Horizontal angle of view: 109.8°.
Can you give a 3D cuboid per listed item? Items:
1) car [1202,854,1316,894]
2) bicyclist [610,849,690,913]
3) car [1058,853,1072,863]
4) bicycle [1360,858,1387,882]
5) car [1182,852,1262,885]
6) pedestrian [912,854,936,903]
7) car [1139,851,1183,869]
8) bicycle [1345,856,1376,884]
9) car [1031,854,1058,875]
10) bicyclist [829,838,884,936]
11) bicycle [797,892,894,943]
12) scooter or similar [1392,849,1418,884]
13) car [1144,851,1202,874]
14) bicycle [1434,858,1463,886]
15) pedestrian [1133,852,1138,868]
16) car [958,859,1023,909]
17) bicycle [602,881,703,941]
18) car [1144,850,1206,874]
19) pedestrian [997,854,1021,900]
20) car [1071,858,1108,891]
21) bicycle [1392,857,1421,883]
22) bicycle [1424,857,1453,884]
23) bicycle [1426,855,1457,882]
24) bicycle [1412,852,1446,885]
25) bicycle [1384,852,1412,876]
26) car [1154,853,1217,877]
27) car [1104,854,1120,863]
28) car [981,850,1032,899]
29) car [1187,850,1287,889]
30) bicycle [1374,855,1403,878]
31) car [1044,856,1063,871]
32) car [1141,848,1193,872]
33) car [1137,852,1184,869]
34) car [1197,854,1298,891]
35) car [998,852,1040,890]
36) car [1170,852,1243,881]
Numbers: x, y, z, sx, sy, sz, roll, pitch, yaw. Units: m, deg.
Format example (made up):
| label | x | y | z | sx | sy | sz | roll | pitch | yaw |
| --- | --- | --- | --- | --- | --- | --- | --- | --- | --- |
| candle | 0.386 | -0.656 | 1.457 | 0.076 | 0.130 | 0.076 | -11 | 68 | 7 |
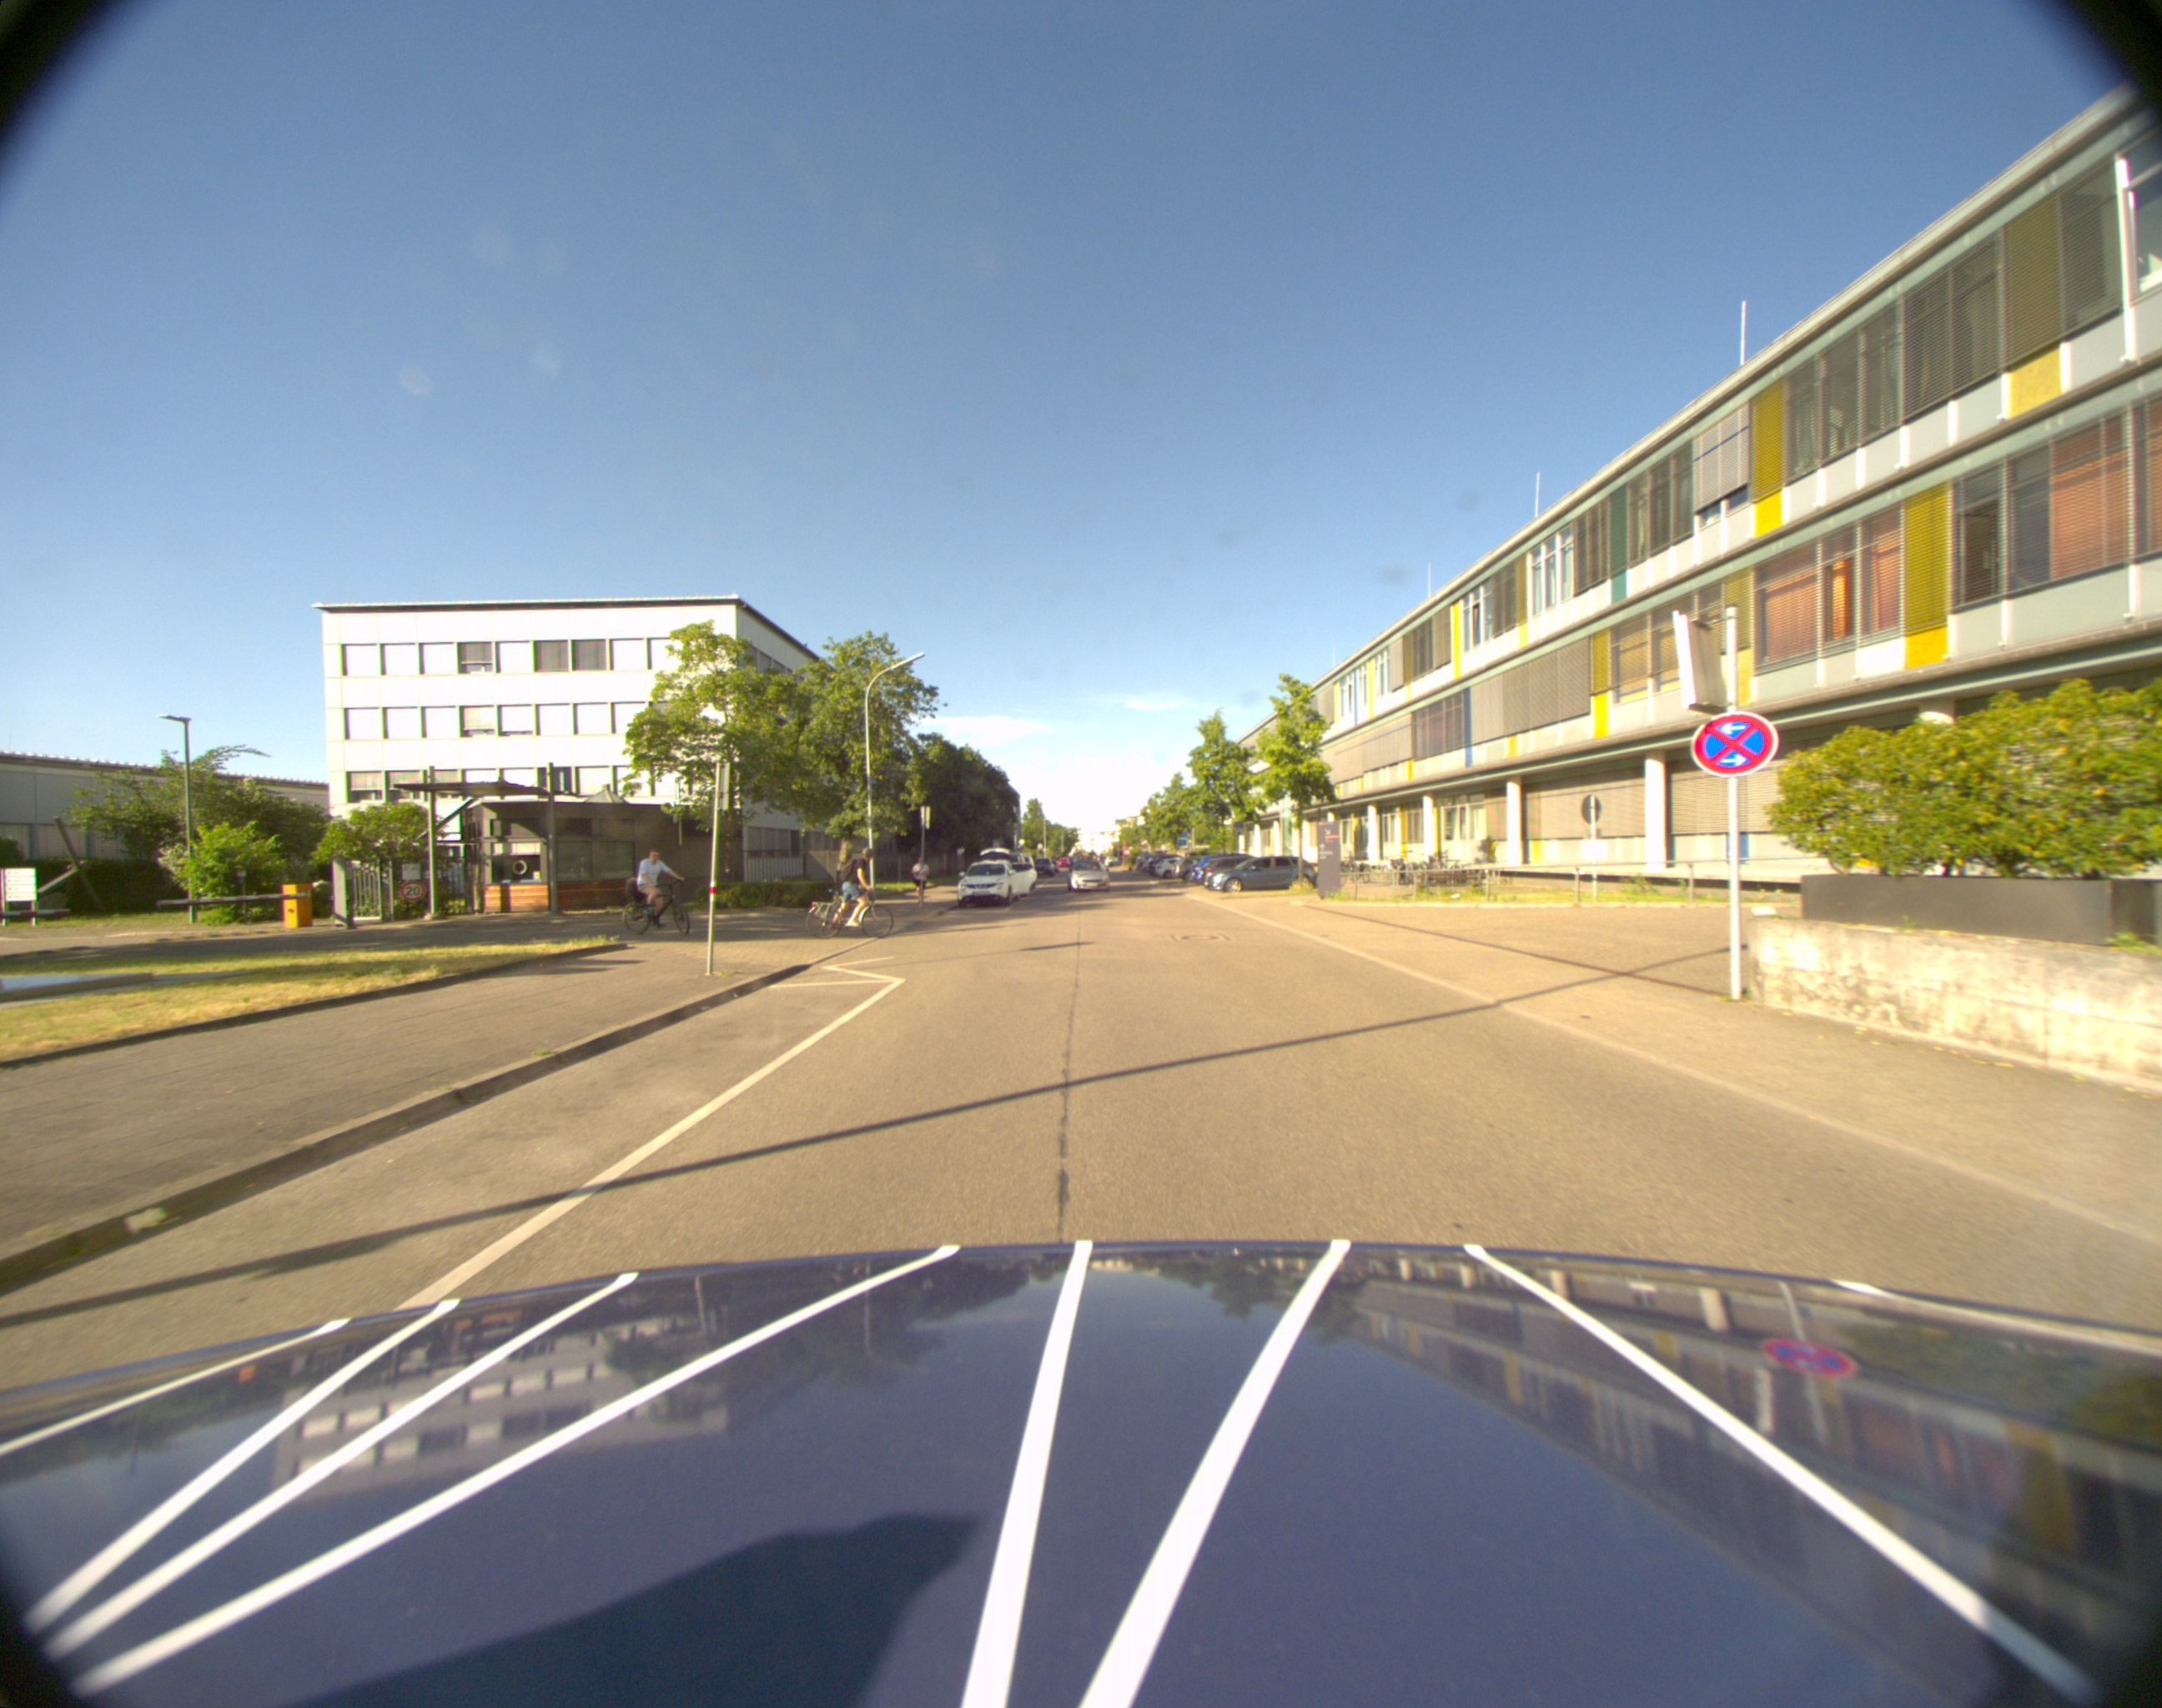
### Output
| label | x | y | z | sx | sy | sz | roll | pitch | yaw |
| --- | --- | --- | --- | --- | --- | --- | --- | --- | --- |
| car | 7.110 | 0.781 | 30.615 | 4.142 | 1.458 | 1.753 | -2 | 0 | -1 |
| bicyclist | -8.815 | 0.548 | 15.568 | 1.098 | 1.261 | 0.863 | -1 | 0 | 16 |
| car | -2.397 | 0.616 | 112.496 | 1.999 | 1.382 | 3.998 | 0 | 0 | -4 |
| bicycle | 12.377 | 0.666 | 32.230 | 0.428 | 1.009 | 1.779 | -1 | 0 | -1 |
| car | 7.508 | 0.743 | 40.614 | 3.752 | 1.480 | 1.777 | -3 | 1 | -8 |
| pedestrian | -5.628 | 0.874 | 27.252 | 0.693 | 1.718 | 0.775 | 0 | 1 | 0 |
| car | 8.076 | 0.604 | 76.866 | 4.357 | 1.637 | 2.001 | -3 | 1 | 5 |
| bicycle | 11.828 | 0.678 | 32.218 | 0.637 | 1.136 | 1.779 | -1 | 0 | -1 |
| car | -3.053 | 0.898 | 64.348 | 1.890 | 1.616 | 4.294 | -3 | 0 | 0 |
| bicyclist | -4.761 | 0.678 | 16.122 | 1.054 | 2.001 | 0.958 | 1 | 0 | -17 |
| bicycle | -4.925 | 1.333 | 16.013 | 1.886 | 1.003 | 0.700 | 2 | 1 | -14 |
| scooter or similar | 12.014 | 0.467 | 28.164 | 0.471 | 1.266 | 1.205 | -1 | 0 | 2 |
| car | 7.429 | 0.658 | 61.653 | 4.360 | 1.581 | 1.999 | -3 | 0 | -4 |
| bicycle | 14.297 | 0.687 | 29.594 | 0.353 | 1.017 | 1.396 | -1 | 0 | -5 |
| pedestrian | 6.032 | 0.696 | 83.986 | 0.369 | 1.712 | 0.479 | -3 | 5 | -3 |
| car | -3.116 | 0.996 | 26.941 | 1.668 | 1.505 | 4.114 | -3 | 0 | 1 |
| bicycle | -8.792 | 1.150 | 15.591 | 1.899 | 1.136 | 0.668 | 0 | 0 | 16 |
| car | 7.228 | 0.607 | 58.690 | 4.360 | 1.618 | 1.999 | -3 | 1 | -4 |
| pedestrian | -2.787 | 0.897 | 29.458 | 0.589 | 1.735 | 0.706 | -3 | 1 | 19 |
| car | 0.432 | 0.914 | 34.514 | 1.551 | 1.389 | 3.454 | 0 | 0 | 3 |
| bicycle | 13.451 | 0.649 | 31.430 | 0.448 | 1.009 | 1.779 | -1 | 0 | -1 |
| bicycle | 13.884 | 0.632 | 29.557 | 0.353 | 1.017 | 1.396 | -1 | 0 | -5 |
| bicycle | 15.398 | 0.597 | 32.505 | 0.448 | 1.129 | 1.855 | -1 | 0 | -1 |
| bicycle | 13.031 | 0.546 | 28.494 | 0.353 | 1.040 | 1.653 | -1 | -8 | -5 |
| bicycle | 15.986 | 0.481 | 38.338 | 0.648 | 1.192 | 1.855 | -1 | 0 | -1 |
| car | 7.220 | 0.728 | 52.763 | 4.102 | 1.414 | 1.823 | -3 | 1 | -1 |
| car | 4.886 | 0.685 | 119.504 | 2.000 | 1.499 | 3.997 | 0 | 0 | -6 |
| car | -3.128 | 0.810 | 32.810 | 1.869 | 1.859 | 5.020 | -3 | 0 | -3 |
| car | 7.284 | 0.707 | 35.699 | 4.232 | 1.642 | 1.960 | -2 | 0 | -2 |
| bicycle | 14.718 | 0.578 | 36.392 | 0.648 | 1.089 | 1.855 | -1 | 0 | -1 |
| car | -2.881 | 0.962 | 80.785 | 1.824 | 1.435 | 4.294 | -3 | 0 | 0 |
| car | 7.705 | 0.537 | 68.455 | 4.359 | 1.852 | 2.000 | -3 | 0 | 1 |
| car | 7.715 | 0.641 | 73.938 | 4.357 | 1.452 | 2.001 | -3 | 1 | 5 |
| car | 7.197 | 0.762 | 33.080 | 3.998 | 1.429 | 1.730 | -2 | 0 | -2 |
| car | -3.131 | 0.846 | 39.313 | 1.706 | 1.784 | 4.294 | -3 | 0 | 0 |
| car | 7.526 | 0.729 | 45.696 | 3.991 | 1.480 | 1.823 | -3 | 1 | -1 |
